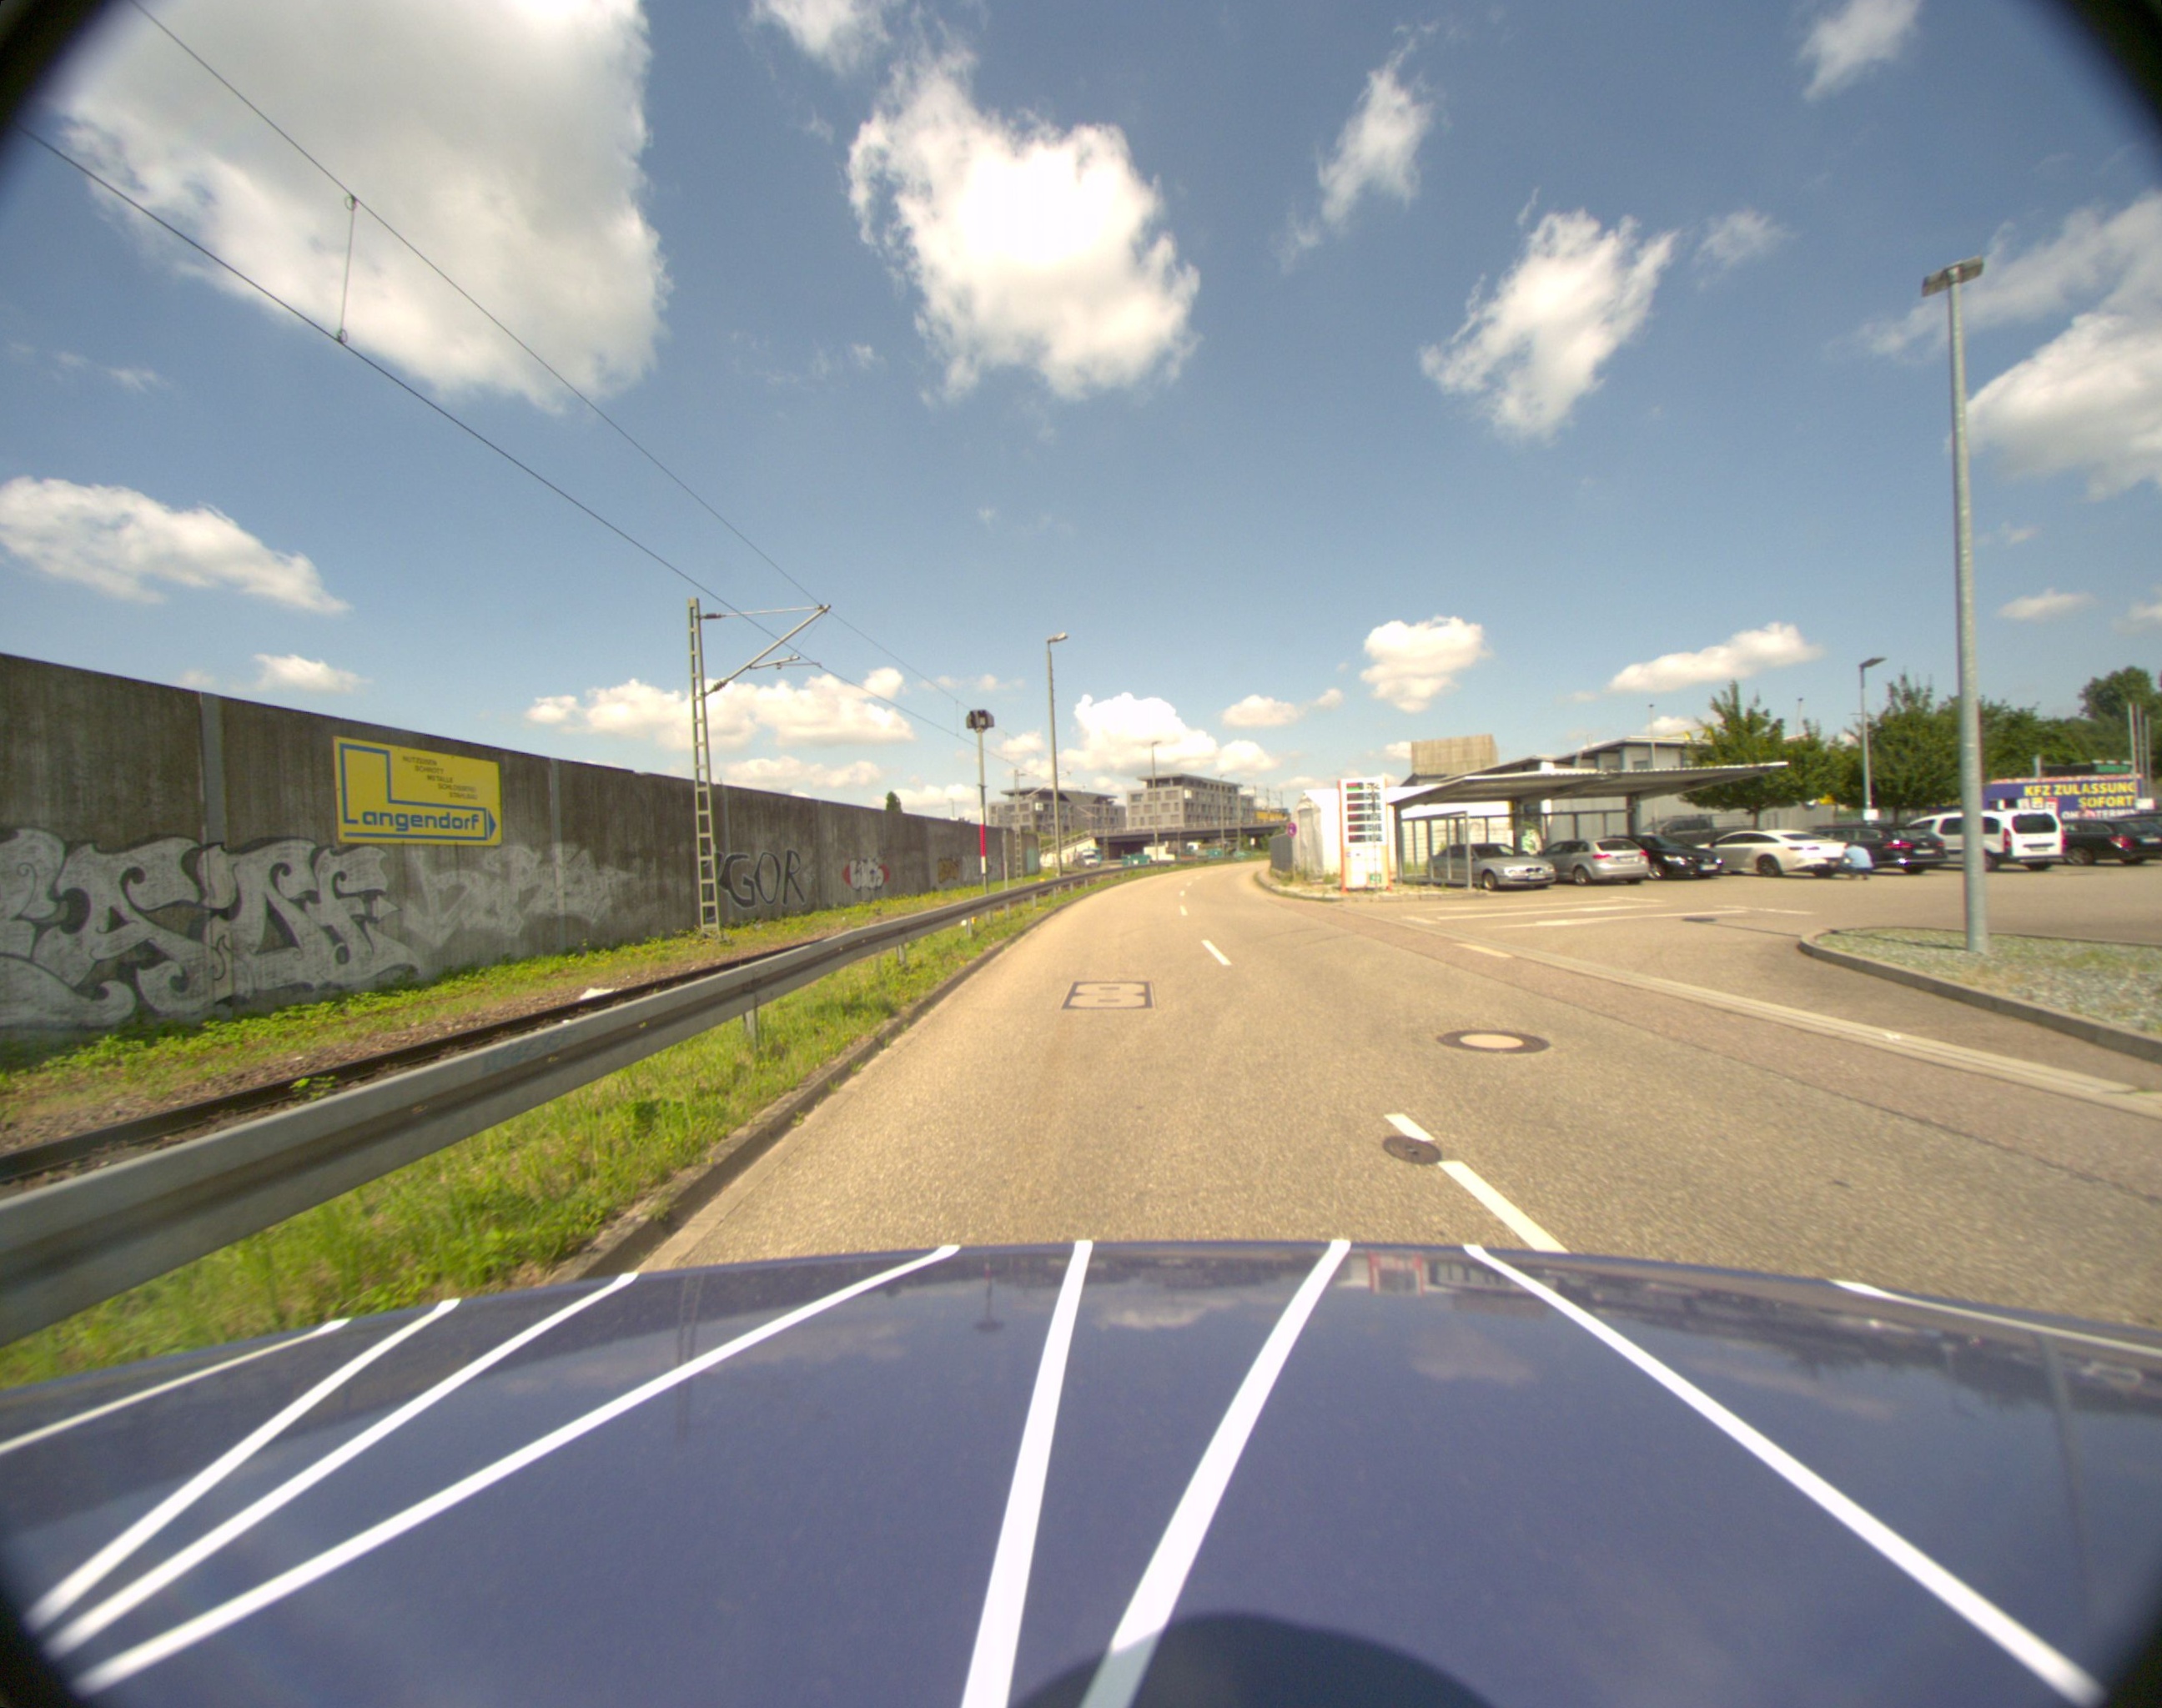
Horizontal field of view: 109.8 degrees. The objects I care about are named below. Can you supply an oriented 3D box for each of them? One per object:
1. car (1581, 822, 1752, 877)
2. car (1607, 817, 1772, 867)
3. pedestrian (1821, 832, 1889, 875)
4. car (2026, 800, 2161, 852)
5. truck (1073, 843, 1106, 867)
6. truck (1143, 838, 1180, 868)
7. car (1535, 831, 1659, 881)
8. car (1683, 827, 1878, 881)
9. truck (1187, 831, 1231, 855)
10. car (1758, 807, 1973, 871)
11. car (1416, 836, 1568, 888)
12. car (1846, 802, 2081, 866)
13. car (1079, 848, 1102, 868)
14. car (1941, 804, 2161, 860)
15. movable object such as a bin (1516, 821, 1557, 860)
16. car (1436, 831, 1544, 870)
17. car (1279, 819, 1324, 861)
[{"bbox_3d":[18.228,-0.131,23.956,1.999,1.488,4.251,-2,0,-1],"label":"car"},{"bbox_3d":[27.160,-0.526,34.050,5.696,2.002,2.000,-2,1,1],"label":"car"},{"bbox_3d":[20.986,-0.008,20.620,0.810,1.119,0.998,-2,1,-2],"label":"pedestrian"},{"bbox_3d":[33.776,-0.883,24.031,1.999,1.589,4.596,-2,1,-1],"label":"car"},{"bbox_3d":[1.274,0.154,119.216,2.657,3.625,6.877,-4,1,-19],"label":"truck"},{"bbox_3d":[9.547,-0.147,91.123,2.994,3.400,8.111,-2,1,-3],"label":"truck"},{"bbox_3d":[15.446,0.036,22.931,1.598,1.337,3.055,-3,1,-1],"label":"car"},{"bbox_3d":[21.007,-0.021,23.120,1.894,1.429,4.315,-2,1,-1],"label":"car"},{"bbox_3d":[17.541,-1.493,104.470,5.499,3.080,2.003,-1,1,30],"label":"truck"},{"bbox_3d":[24.168,-0.441,23.717,1.998,1.757,4.597,-2,1,1],"label":"car"},{"bbox_3d":[12.716,0.207,23.939,1.922,1.369,4.789,-3,1,-4],"label":"car"},{"bbox_3d":[27.340,-0.587,23.839,1.999,1.768,4.596,-2,1,-1],"label":"car"},{"bbox_3d":[1.266,0.548,107.838,2.067,2.512,5.877,-4,1,-10],"label":"car"},{"bbox_3d":[30.652,-0.660,23.875,1.999,1.543,4.596,-2,1,-1],"label":"car"},{"bbox_3d":[25.977,-0.776,43.337,1.633,2.092,2.380,-4,-1,38],"label":"movable object such as a bin"},{"bbox_3d":[20.209,-0.154,37.619,4.403,1.822,2.004,-1,1,38],"label":"car"},{"bbox_3d":[14.387,-0.886,49.954,2.122,2.522,6.722,-2,0,11],"label":"car"}]
